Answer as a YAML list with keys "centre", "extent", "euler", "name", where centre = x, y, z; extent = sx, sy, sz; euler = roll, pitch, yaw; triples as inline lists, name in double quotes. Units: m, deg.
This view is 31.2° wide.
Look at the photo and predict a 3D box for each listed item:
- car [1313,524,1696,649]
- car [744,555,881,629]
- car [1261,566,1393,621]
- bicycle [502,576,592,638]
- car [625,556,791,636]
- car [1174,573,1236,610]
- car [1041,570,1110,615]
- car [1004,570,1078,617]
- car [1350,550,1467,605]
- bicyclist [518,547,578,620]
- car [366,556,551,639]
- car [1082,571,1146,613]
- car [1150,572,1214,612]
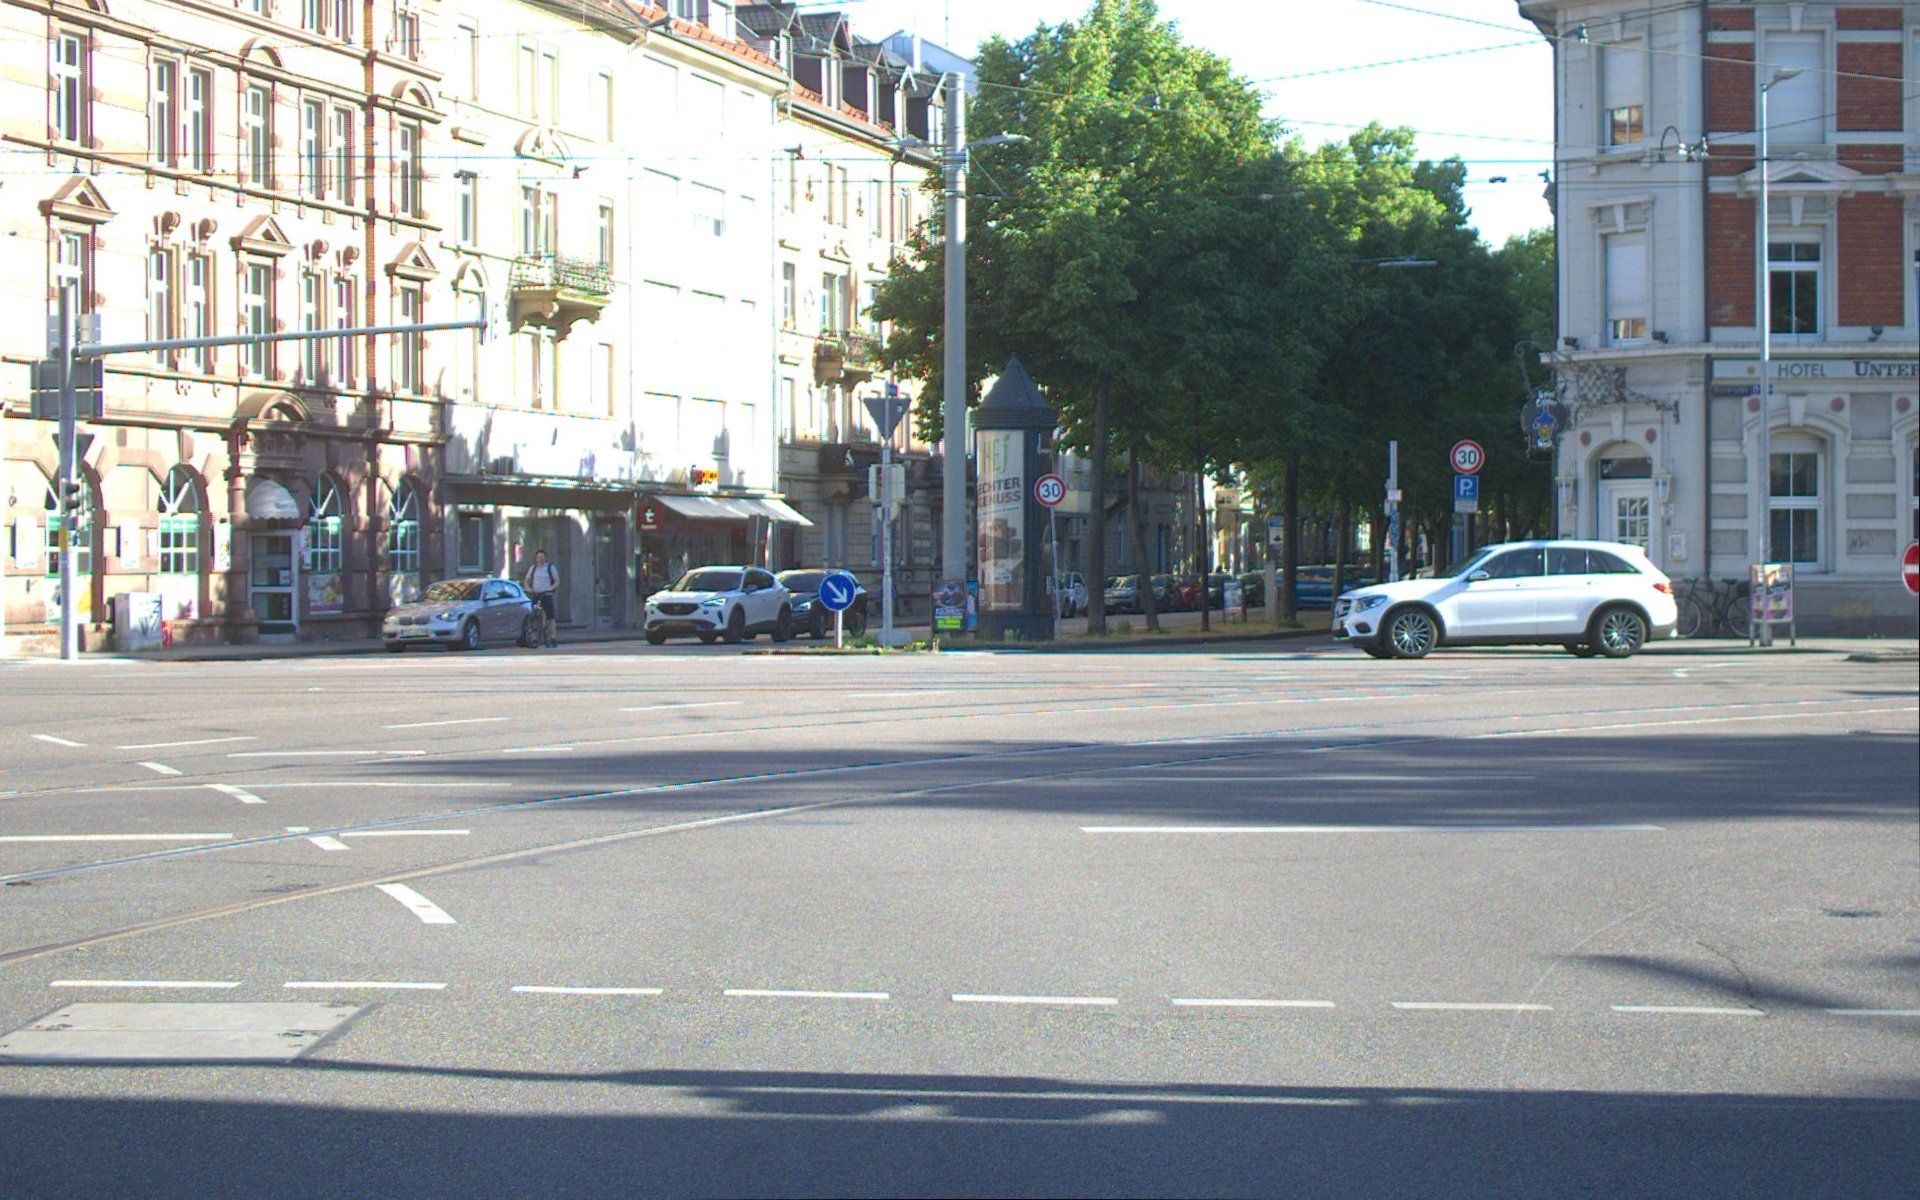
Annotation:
- centre: [7.444, -0.204, 47.250]
  extent: [4.847, 1.654, 2.000]
  euler: [0, 1, -5]
  name: "car"
- centre: [-3.129, -0.191, 73.542]
  extent: [1.994, 1.508, 3.998]
  euler: [0, 1, 12]
  name: "car"
- centre: [12.293, -0.227, 115.234]
  extent: [4.113, 1.640, 1.745]
  euler: [3, 1, 15]
  name: "car"
- centre: [-7.867, 0.127, 65.638]
  extent: [0.751, 1.131, 2.808]
  euler: [0, 1, 14]
  name: "bicycle"
- centre: [-4.879, -0.104, 67.175]
  extent: [2.098, 1.494, 3.998]
  euler: [0, 1, 14]
  name: "car"
- centre: [9.729, -0.350, 136.395]
  extent: [1.742, 1.393, 4.121]
  euler: [3, 1, 13]
  name: "car"
- centre: [3.922, -0.257, 115.815]
  extent: [1.741, 1.393, 4.122]
  euler: [3, 1, 9]
  name: "car"
- centre: [2.598, -0.218, 110.010]
  extent: [1.741, 1.393, 4.122]
  euler: [3, 1, 9]
  name: "car"
- centre: [17.411, -0.879, 133.432]
  extent: [4.115, 1.912, 1.744]
  euler: [3, 1, 21]
  name: "car"
- centre: [-7.854, -0.315, 65.601]
  extent: [0.794, 1.370, 1.107]
  euler: [0, 1, 14]
  name: "bicyclist"
- centre: [-9.778, -0.071, 67.390]
  extent: [2.098, 1.540, 4.361]
  euler: [0, 1, 14]
  name: "car"
- centre: [5.509, -0.304, 122.792]
  extent: [1.741, 1.393, 4.122]
  euler: [3, 1, 9]
  name: "car"
- centre: [8.510, -0.315, 131.616]
  extent: [1.742, 1.393, 4.121]
  euler: [3, 1, 13]
  name: "car"
